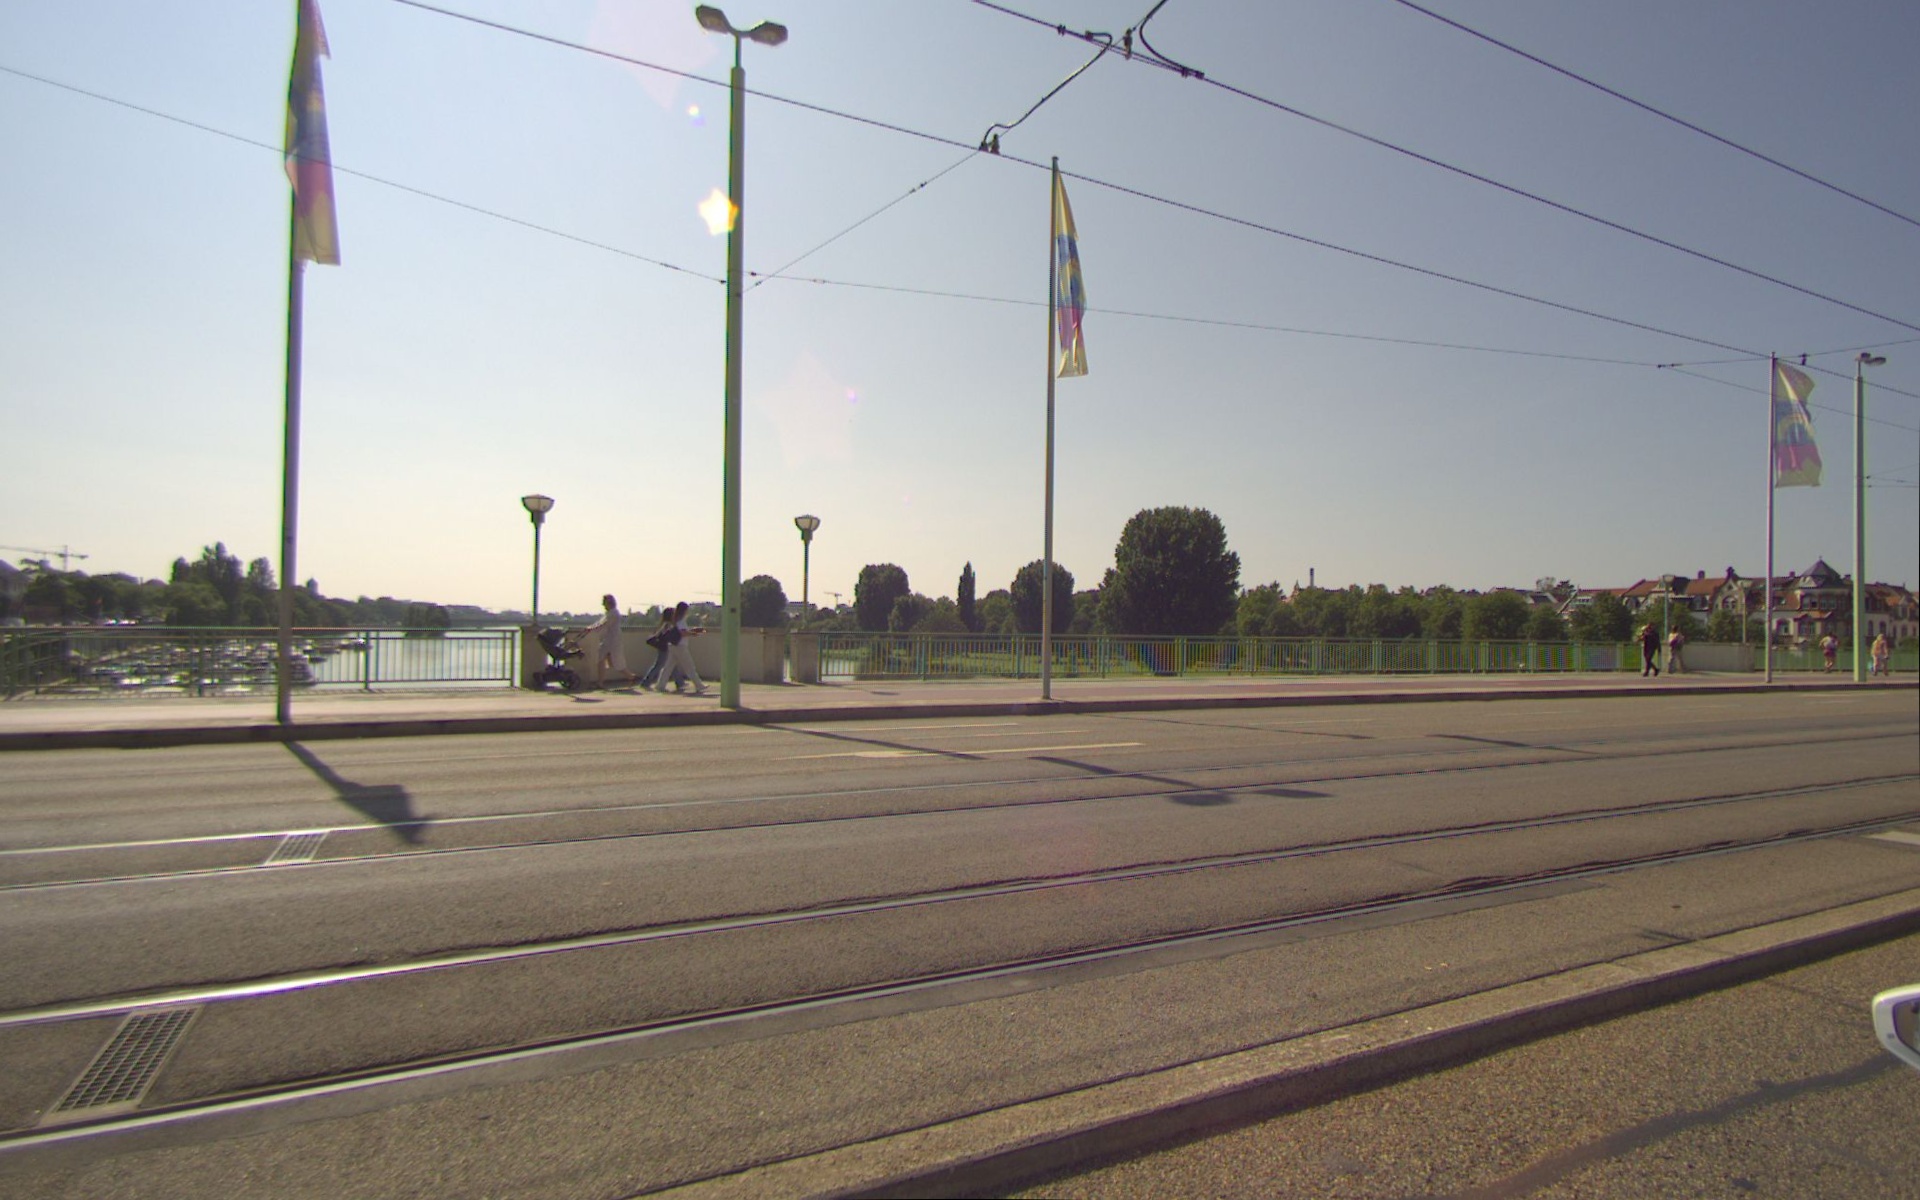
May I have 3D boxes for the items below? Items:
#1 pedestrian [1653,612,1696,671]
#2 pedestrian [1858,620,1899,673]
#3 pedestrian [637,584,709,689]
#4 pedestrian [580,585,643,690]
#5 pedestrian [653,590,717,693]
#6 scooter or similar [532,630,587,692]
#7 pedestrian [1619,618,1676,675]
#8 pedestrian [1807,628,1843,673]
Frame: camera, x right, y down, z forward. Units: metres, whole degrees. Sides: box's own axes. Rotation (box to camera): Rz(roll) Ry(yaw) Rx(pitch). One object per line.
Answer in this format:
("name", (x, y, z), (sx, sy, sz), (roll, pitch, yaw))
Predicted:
("pedestrian", (25.172, 1.452, 35.394), (1.029, 2.040, 0.894), (1, -1, -30))
("pedestrian", (36.479, 1.832, 39.897), (1.089, 2.040, 0.963), (1, -1, -32))
("pedestrian", (-5.338, 0.667, 18.663), (1.108, 1.874, 0.735), (1, 2, -30))
("pedestrian", (-6.517, 0.685, 18.788), (0.963, 1.878, 0.735), (1, 2, -30))
("pedestrian", (-5.009, 0.745, 18.293), (0.946, 1.808, 0.735), (1, -1, -30))
("scooter or similar", (-7.321, 1.100, 18.364), (0.823, 1.043, 0.735), (1, 2, -30))
("pedestrian", (22.351, 1.499, 32.676), (1.280, 1.781, 1.092), (1, -1, -30))
("pedestrian", (34.798, 2.034, 40.415), (1.162, 1.745, 0.751), (2, -1, -30))
